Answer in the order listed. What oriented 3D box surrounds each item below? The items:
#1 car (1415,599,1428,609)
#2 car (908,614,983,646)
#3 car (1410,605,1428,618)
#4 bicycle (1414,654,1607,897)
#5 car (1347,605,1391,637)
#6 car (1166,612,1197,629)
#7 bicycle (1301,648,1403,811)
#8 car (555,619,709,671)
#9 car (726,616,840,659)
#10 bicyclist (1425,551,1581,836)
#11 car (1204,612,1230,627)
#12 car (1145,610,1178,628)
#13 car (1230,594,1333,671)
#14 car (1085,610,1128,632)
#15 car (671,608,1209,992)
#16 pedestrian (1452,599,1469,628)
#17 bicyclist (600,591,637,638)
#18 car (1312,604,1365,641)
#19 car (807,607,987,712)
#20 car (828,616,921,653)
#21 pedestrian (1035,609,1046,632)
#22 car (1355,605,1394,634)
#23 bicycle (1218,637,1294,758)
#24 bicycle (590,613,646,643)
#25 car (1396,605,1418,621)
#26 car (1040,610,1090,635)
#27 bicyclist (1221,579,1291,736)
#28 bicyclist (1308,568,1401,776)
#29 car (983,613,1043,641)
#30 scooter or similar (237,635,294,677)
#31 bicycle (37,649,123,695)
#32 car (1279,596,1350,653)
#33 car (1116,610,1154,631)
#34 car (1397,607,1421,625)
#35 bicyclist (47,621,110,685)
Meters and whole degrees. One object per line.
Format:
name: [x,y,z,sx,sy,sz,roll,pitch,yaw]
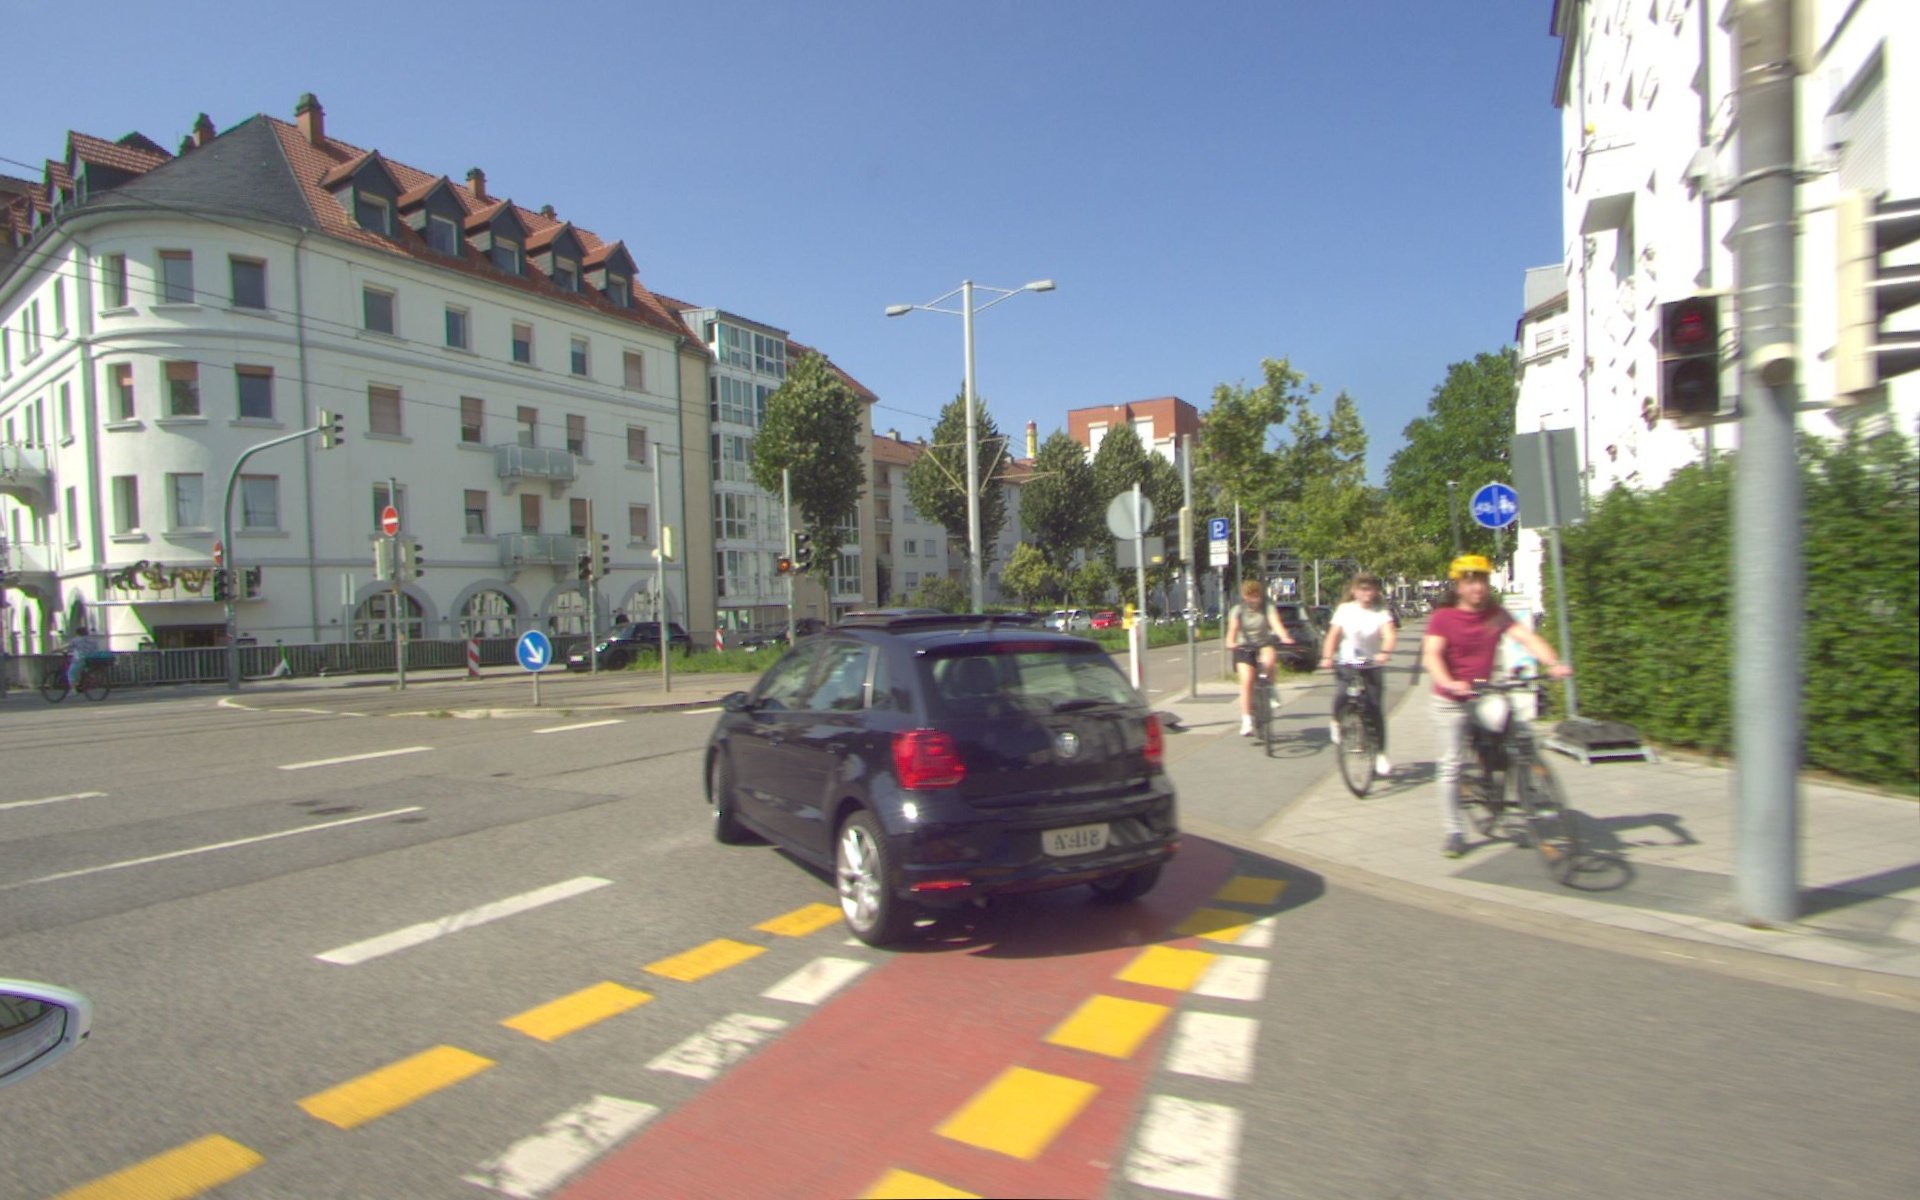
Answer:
car: [81.302,0.764,176.523,1.772,1.704,3.724,-2,-1,29]
car: [-0.616,1.360,46.269,1.741,1.371,3.984,-2,-2,28]
car: [55.284,1.409,120.601,1.714,1.504,3.724,-2,-1,29]
bicycle: [3.129,0.915,5.858,0.593,1.113,1.812,-1,-1,16]
car: [20.503,1.017,50.096,1.713,1.504,3.726,-2,-1,27]
car: [18.583,1.709,84.045,1.739,1.371,3.988,-2,-2,24]
bicycle: [3.251,0.988,8.211,0.618,1.113,1.780,-1,-1,26]
car: [-9.336,1.268,28.792,1.744,1.338,3.978,-3,-2,33]
car: [-6.129,1.279,35.077,1.743,1.371,3.981,-3,-2,31]
bicyclist: [3.099,0.502,5.786,0.587,1.497,0.916,-1,0,17]
car: [24.974,1.843,97.151,1.739,1.371,3.988,-2,-2,24]
car: [15.909,1.485,78.951,1.739,1.371,3.988,-2,-2,24]
car: [7.655,0.746,23.653,1.713,1.659,3.726,-2,-1,27]
car: [9.658,1.350,65.633,1.739,1.371,3.988,-2,-2,24]
car: [-0.424,0.803,5.917,1.572,1.512,3.641,0,0,-31]
pedestrian: [30.117,0.815,60.259,0.846,1.688,0.905,0,0,32]
bicyclist: [-12.503,0.501,36.714,0.796,1.676,1.006,2,2,25]
car: [16.258,0.935,42.948,1.713,1.504,3.726,-2,-1,27]
car: [-0.964,0.931,17.180,1.668,1.576,3.647,1,0,22]
car: [-3.350,1.354,40.117,1.742,1.371,3.982,-2,-2,30]
pedestrian: [6.412,1.615,79.726,0.589,1.786,0.750,-1,0,25]
car: [23.501,1.086,56.674,1.713,1.504,3.726,-2,-1,27]
bicycle: [3.212,1.001,10.777,0.608,1.114,1.781,-1,0,21]
bicycle: [-12.524,1.022,36.728,0.808,1.034,1.905,2,1,25]
car: [43.133,1.223,96.593,1.713,1.504,3.726,-2,-1,27]
car: [6.200,1.289,58.876,1.739,1.371,3.988,-2,-2,24]
bicyclist: [3.193,0.593,10.755,0.613,1.611,0.915,-1,1,21]
bicyclist: [3.269,0.566,8.268,0.614,1.600,0.914,-1,0,26]
car: [2.837,1.394,52.775,1.740,1.371,3.986,-2,-2,26]
scooter or similar: [-19.749,1.574,28.480,1.290,1.132,0.336,-1,0,-40]
bicycle: [-20.386,1.650,23.181,2.214,1.003,0.864,-2,-1,31]
car: [11.185,0.744,31.466,1.712,1.659,3.728,-2,-1,25]
car: [12.580,1.452,71.644,1.739,1.371,3.988,-2,-2,24]
car: [39.998,1.427,89.196,1.713,1.504,3.726,-2,-1,27]
bicyclist: [-20.428,1.211,23.204,0.904,1.434,0.864,-2,-1,31]
